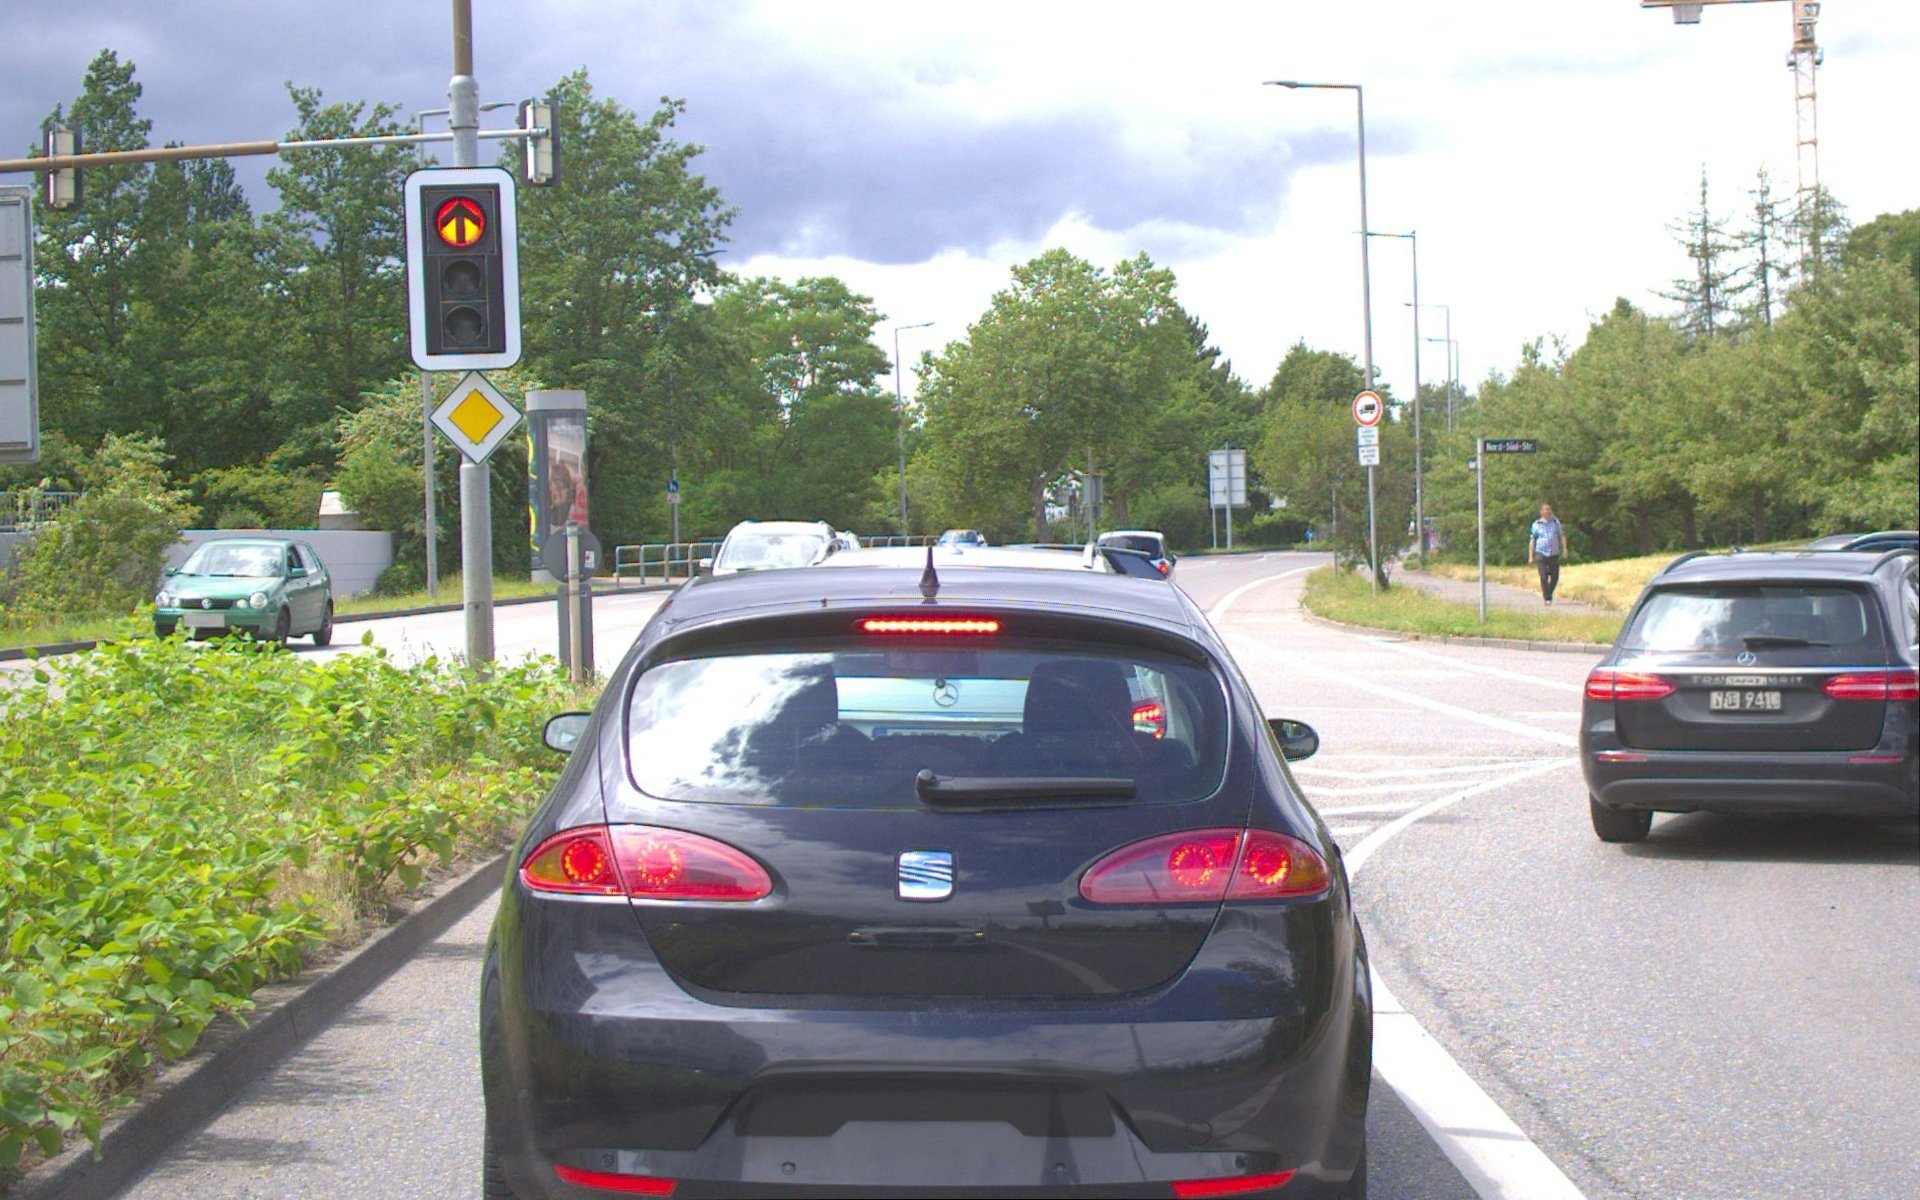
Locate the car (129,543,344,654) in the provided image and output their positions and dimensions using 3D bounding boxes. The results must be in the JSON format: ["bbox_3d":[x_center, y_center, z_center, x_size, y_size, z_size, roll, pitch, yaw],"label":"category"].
[{"bbox_3d":[-9.404,-0.051,44.978,1.993,1.347,4.000,0,1,-1],"label":"car"}]

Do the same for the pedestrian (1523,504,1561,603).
[{"bbox_3d":[10.195,-0.814,60.213,0.559,1.720,0.588,0,1,1],"label":"pedestrian"}]

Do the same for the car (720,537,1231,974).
[{"bbox_3d":[-0.027,0.517,13.948,1.773,1.486,3.583,-2,1,-3],"label":"car"}]

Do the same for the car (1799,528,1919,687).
[{"bbox_3d":[11.304,0.023,36.316,4.303,1.610,2.000,-1,1,-6],"label":"car"}]

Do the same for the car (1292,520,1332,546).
[{"bbox_3d":[18.755,-3.562,182.858,1.994,1.347,3.999,0,1,8],"label":"car"}]

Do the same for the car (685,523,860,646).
[{"bbox_3d":[-2.516,-0.243,47.144,1.994,1.590,4.000,0,1,3],"label":"car"}]

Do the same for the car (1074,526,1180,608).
[{"bbox_3d":[3.275,-0.668,67.253,1.994,1.525,4.000,0,1,3],"label":"car"}]

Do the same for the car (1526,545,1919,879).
[{"bbox_3d":[4.541,0.473,18.202,1.875,1.436,5.194,-1,1,23],"label":"car"}]

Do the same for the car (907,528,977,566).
[{"bbox_3d":[-0.645,-1.925,124.565,1.994,1.347,3.999,0,1,8],"label":"car"}]

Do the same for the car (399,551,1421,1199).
[{"bbox_3d":[-0.108,0.631,7.771,1.773,1.447,3.582,0,1,-1],"label":"car"}]

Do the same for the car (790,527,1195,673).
[{"bbox_3d":[0.325,-0.023,38.912,4.303,1.520,2.001,-1,1,-8],"label":"car"}]
